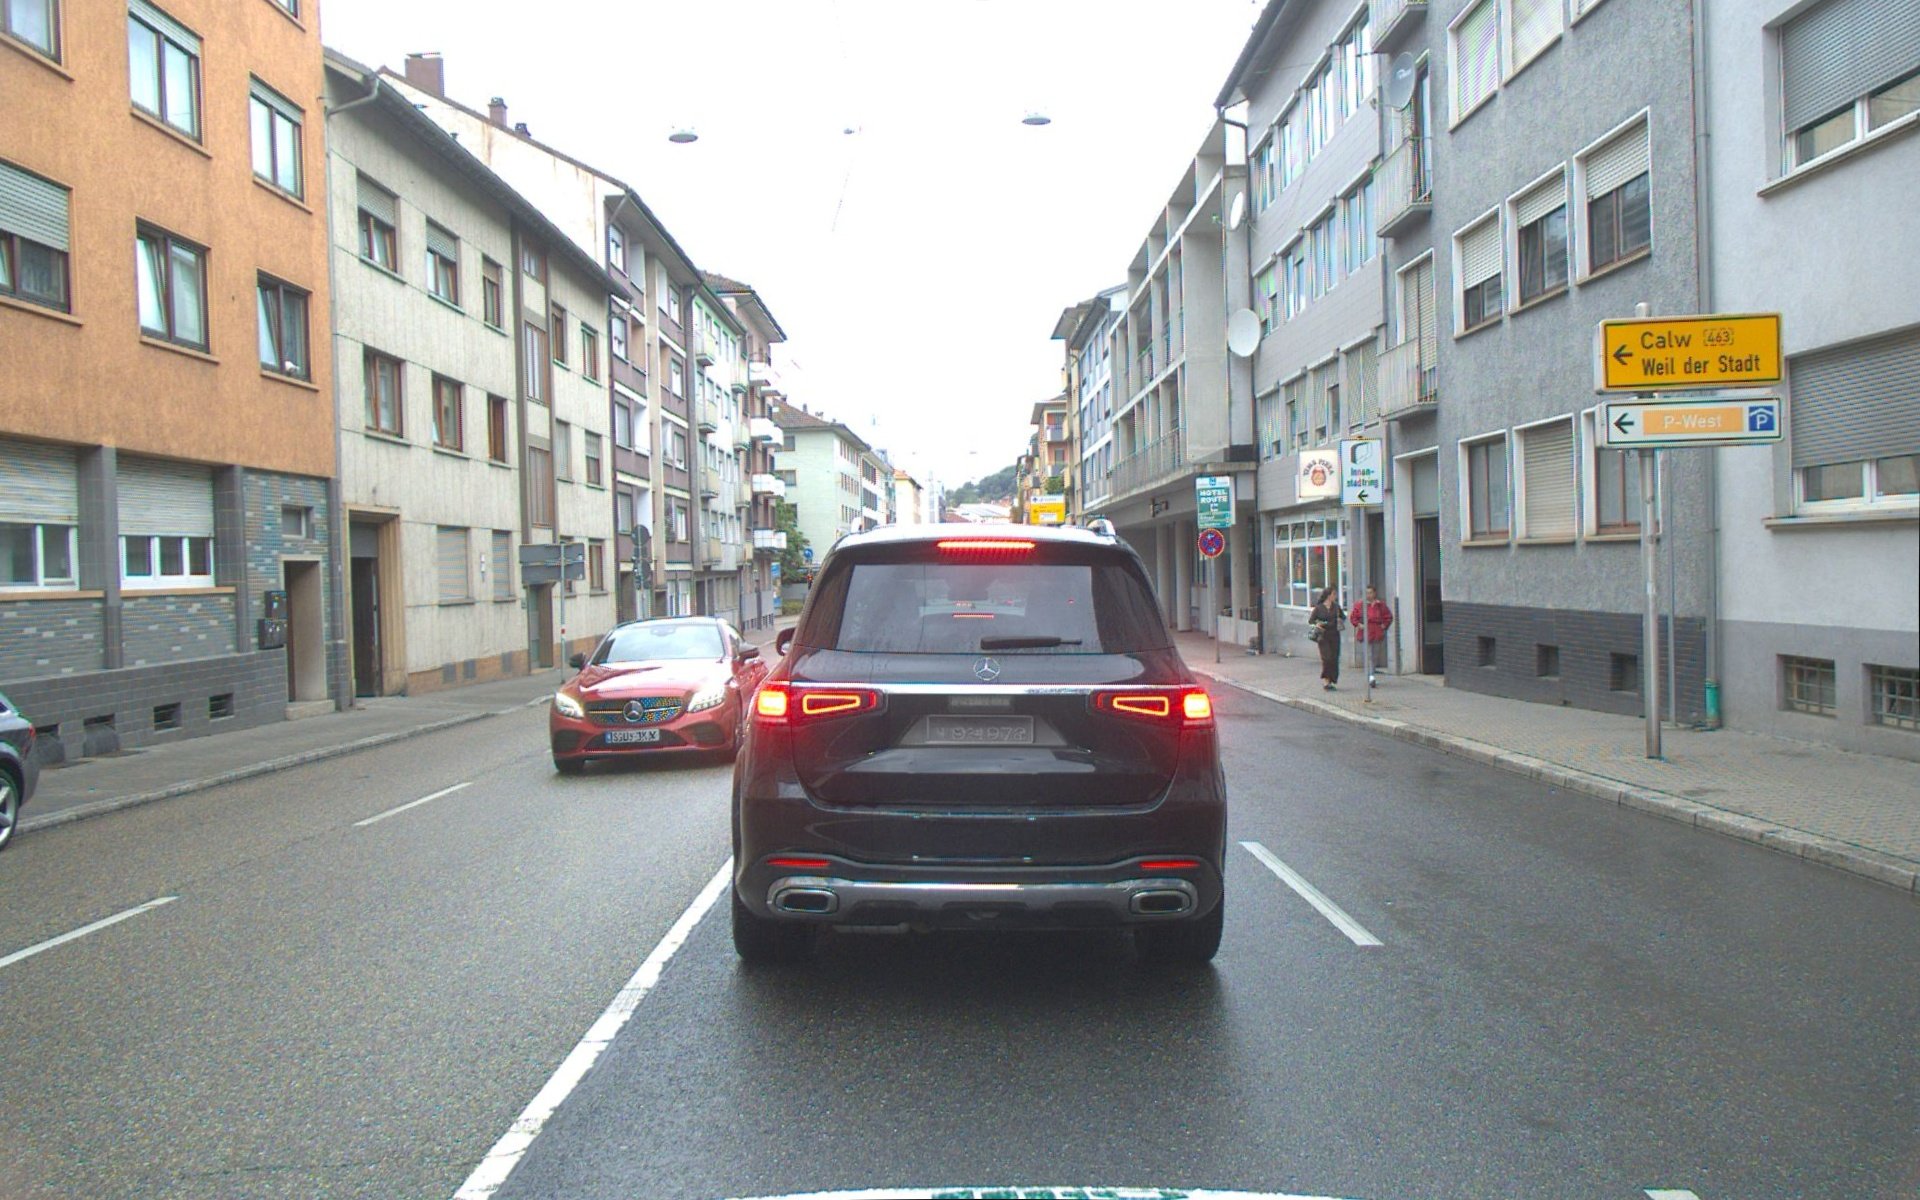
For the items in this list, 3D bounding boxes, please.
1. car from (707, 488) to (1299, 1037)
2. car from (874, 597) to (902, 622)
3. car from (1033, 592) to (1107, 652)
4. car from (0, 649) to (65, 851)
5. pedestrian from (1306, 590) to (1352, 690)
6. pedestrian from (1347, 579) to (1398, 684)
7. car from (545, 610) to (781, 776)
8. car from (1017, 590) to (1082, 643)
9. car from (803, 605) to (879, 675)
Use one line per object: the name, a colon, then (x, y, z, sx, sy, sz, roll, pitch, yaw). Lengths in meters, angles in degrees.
car: (0.107, 0.554, 7.631, 1.984, 1.837, 3.999, 1, 0, -1)
car: (-4.566, 0.595, 105.814, 1.615, 1.464, 4.124, -3, 0, -1)
car: (3.050, 0.584, 46.456, 1.731, 1.608, 3.999, 0, 0, -1)
car: (-7.969, 1.123, 10.883, 1.759, 1.463, 4.525, 1, 0, -1)
pedestrian: (5.782, 0.617, 25.936, 0.496, 1.526, 0.562, -4, 0, -2)
pedestrian: (6.484, 0.490, 26.024, 0.549, 1.606, 0.526, -4, 0, -2)
car: (-2.960, 0.865, 17.347, 1.690, 1.414, 4.338, -3, 0, -1)
car: (3.139, 0.545, 58.784, 1.901, 1.806, 4.744, 0, 0, -2)
car: (-3.102, 1.025, 43.681, 1.698, 1.602, 4.010, -5, 0, -1)
